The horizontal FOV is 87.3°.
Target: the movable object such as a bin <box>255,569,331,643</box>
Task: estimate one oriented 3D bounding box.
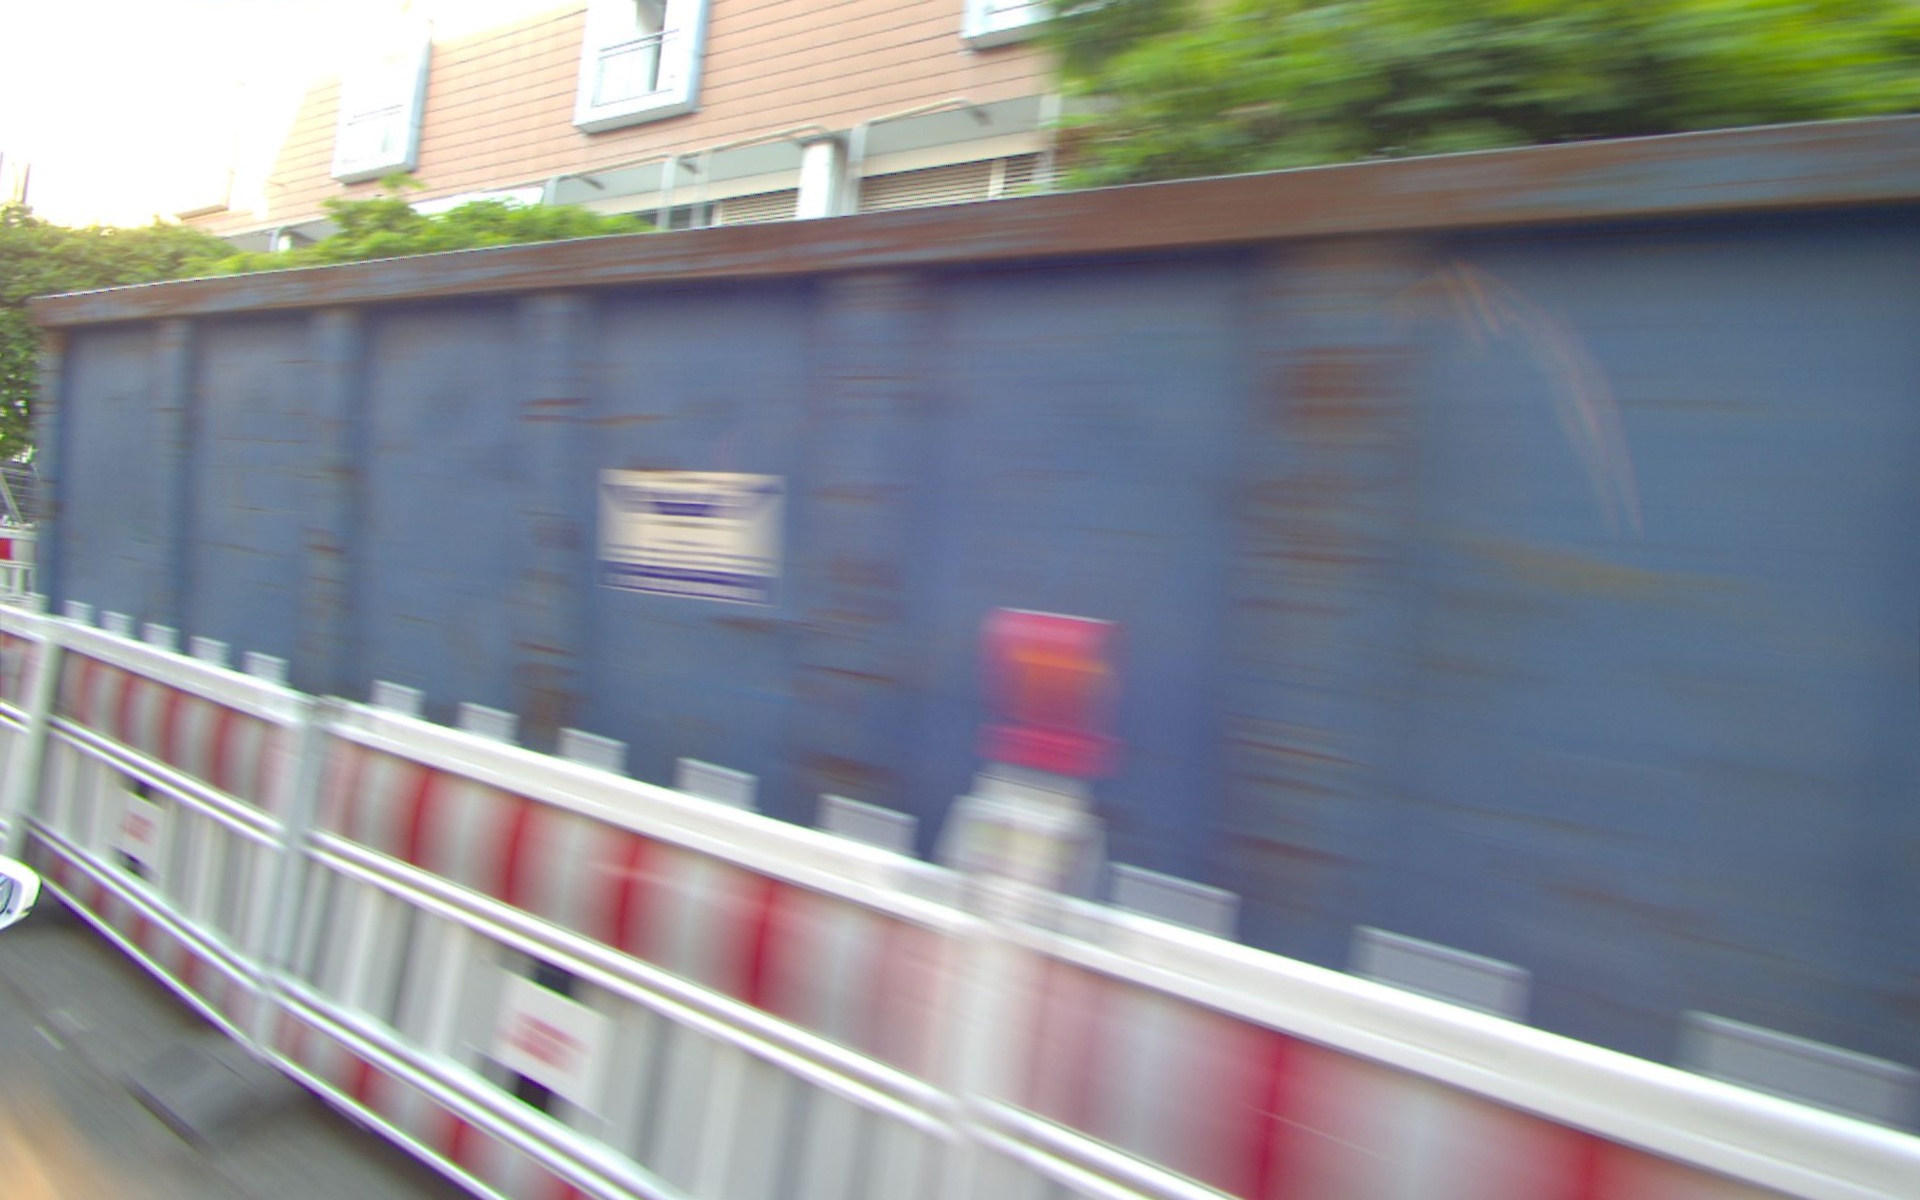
[{"bbox_3d":[-10.042,0.097,15.149,0.700,0.986,0.558,7,-2,27],"label":"movable object such as a bin"}]

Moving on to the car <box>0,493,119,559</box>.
[{"bbox_3d":[-30.300,-2.493,32.587,1.965,1.679,4.118,7,-1,27],"label":"car"}]
